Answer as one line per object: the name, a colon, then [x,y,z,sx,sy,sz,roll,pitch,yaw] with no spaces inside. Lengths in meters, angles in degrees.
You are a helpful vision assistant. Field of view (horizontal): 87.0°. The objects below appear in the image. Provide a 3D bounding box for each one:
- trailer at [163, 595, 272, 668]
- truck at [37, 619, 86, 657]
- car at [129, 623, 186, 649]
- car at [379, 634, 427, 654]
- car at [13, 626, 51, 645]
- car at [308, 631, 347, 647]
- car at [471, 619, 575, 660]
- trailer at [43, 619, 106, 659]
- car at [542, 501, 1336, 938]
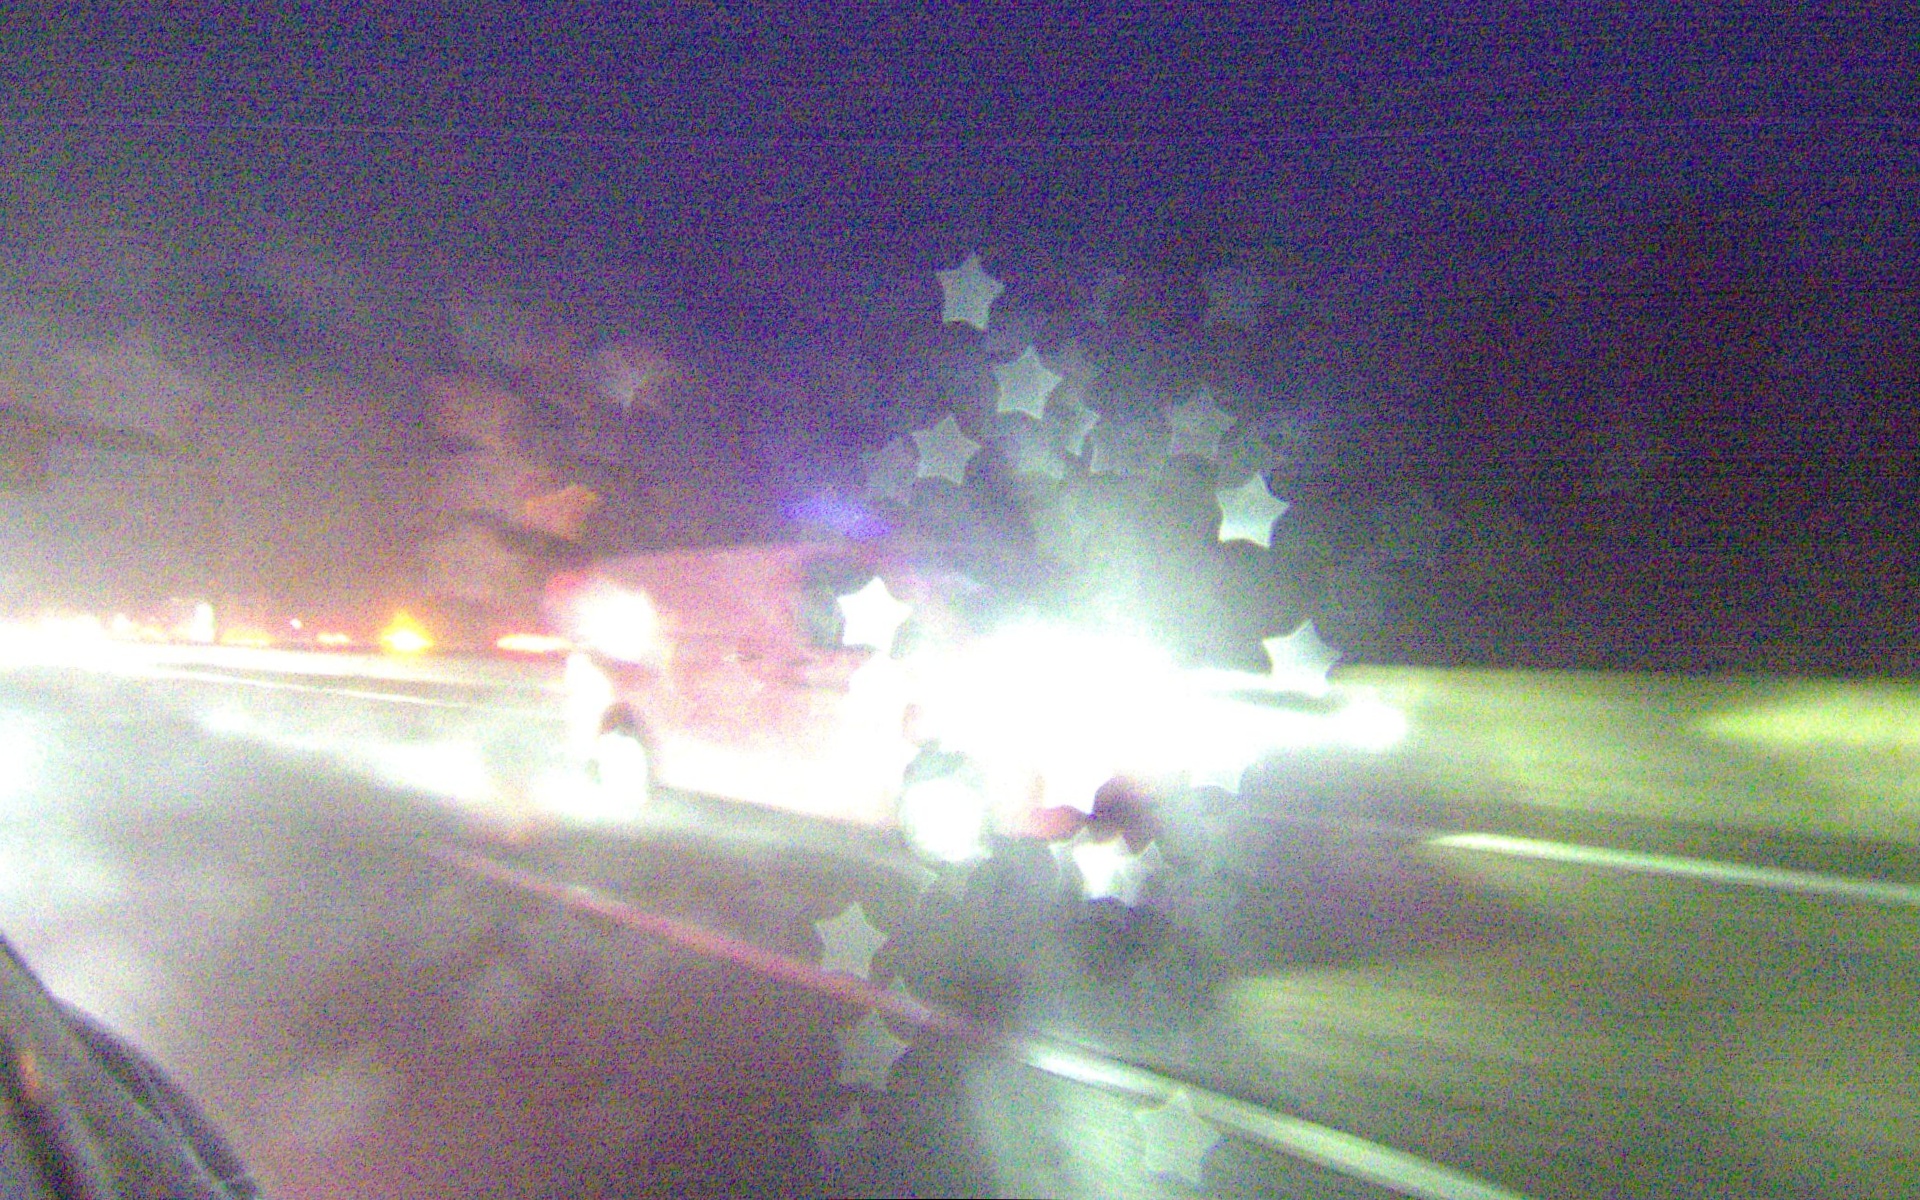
trailer: [-54.342,2.287,73.800,14.569,4.886,2.893,-1,-4,40]
truck: [-94.074,3.985,105.988,6.447,3.788,2.669,-1,-4,39]
car: [-52.654,2.327,66.396,4.590,1.611,1.973,-1,-4,40]
car: [-41.722,3.294,75.762,4.590,1.388,1.543,-1,-4,40]
car: [-86.577,3.293,94.377,4.590,1.611,1.973,-1,-4,40]
car: [-57.932,3.572,92.658,4.793,1.434,1.595,-1,-4,40]
car: [-15.362,1.365,35.509,3.994,1.354,1.636,-2,-1,38]
trailer: [-89.641,3.912,102.368,12.008,3.777,2.669,-1,-3,39]
car: [-0.544,0.566,7.038,5.552,1.899,2.114,-1,-2,41]
